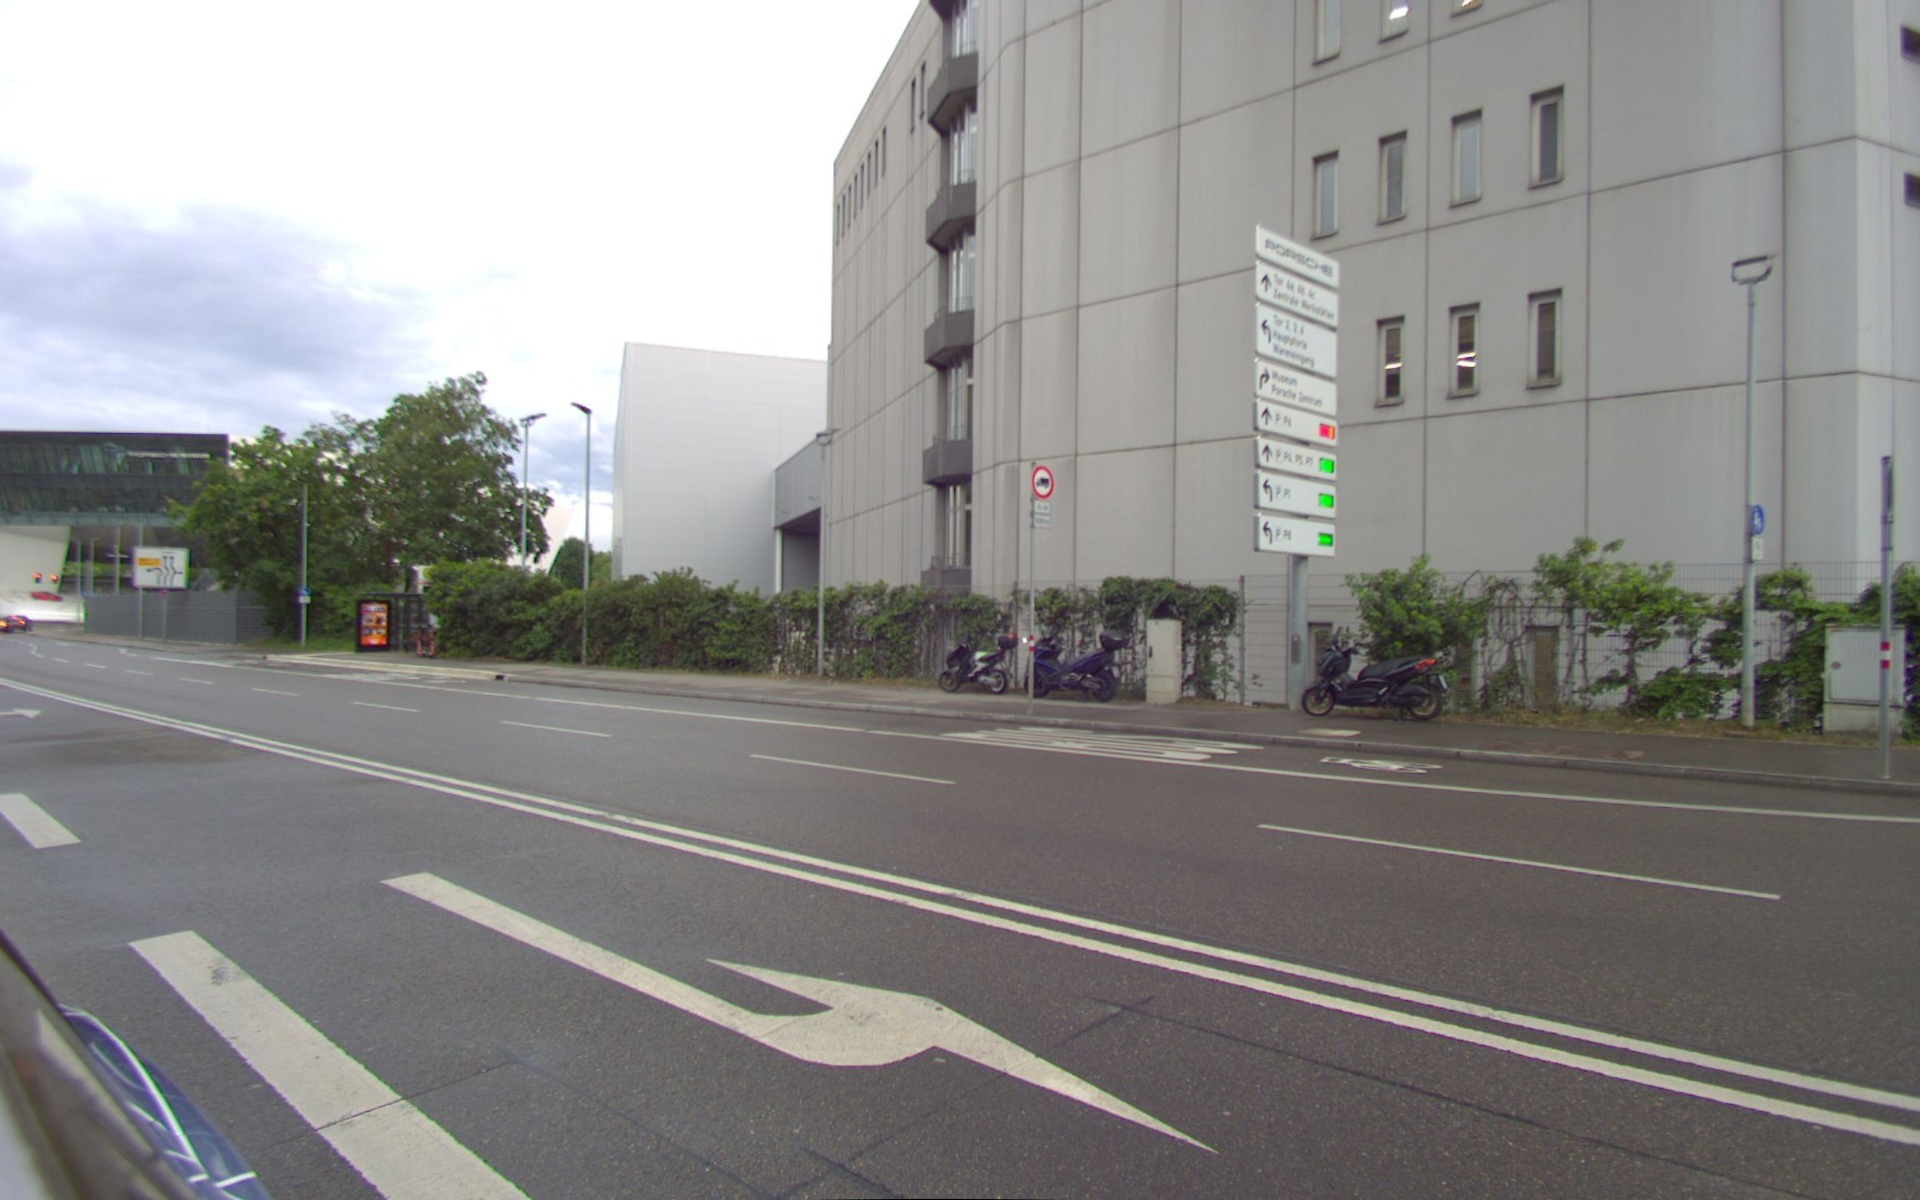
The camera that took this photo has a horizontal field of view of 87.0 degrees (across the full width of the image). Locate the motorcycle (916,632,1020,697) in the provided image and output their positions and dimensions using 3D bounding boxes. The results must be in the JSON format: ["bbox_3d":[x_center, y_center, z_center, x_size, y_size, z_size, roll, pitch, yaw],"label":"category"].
[{"bbox_3d":[0.147,1.303,20.842,2.156,1.260,0.777,-1,-2,40],"label":"motorcycle"}]

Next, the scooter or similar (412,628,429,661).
[{"bbox_3d":[-20.314,1.666,38.102,0.383,1.189,1.253,1,-2,-36],"label":"scooter or similar"}]

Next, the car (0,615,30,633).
[{"bbox_3d":[-88.940,2.286,94.805,1.834,1.663,3.799,1,-2,-30],"label":"car"}]

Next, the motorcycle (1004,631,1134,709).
[{"bbox_3d":[1.996,1.254,18.791,2.368,1.358,0.776,-1,-2,40],"label":"motorcycle"}]

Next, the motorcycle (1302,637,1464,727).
[{"bbox_3d":[6.441,1.208,15.490,2.156,1.257,0.777,-1,-2,40],"label":"motorcycle"}]

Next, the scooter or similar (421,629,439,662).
[{"bbox_3d":[-19.387,1.649,37.036,0.373,1.190,1.380,1,-2,-36],"label":"scooter or similar"}]

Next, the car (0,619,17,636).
[{"bbox_3d":[-84.913,2.424,88.909,2.233,1.488,4.059,1,-1,-32],"label":"car"}]
